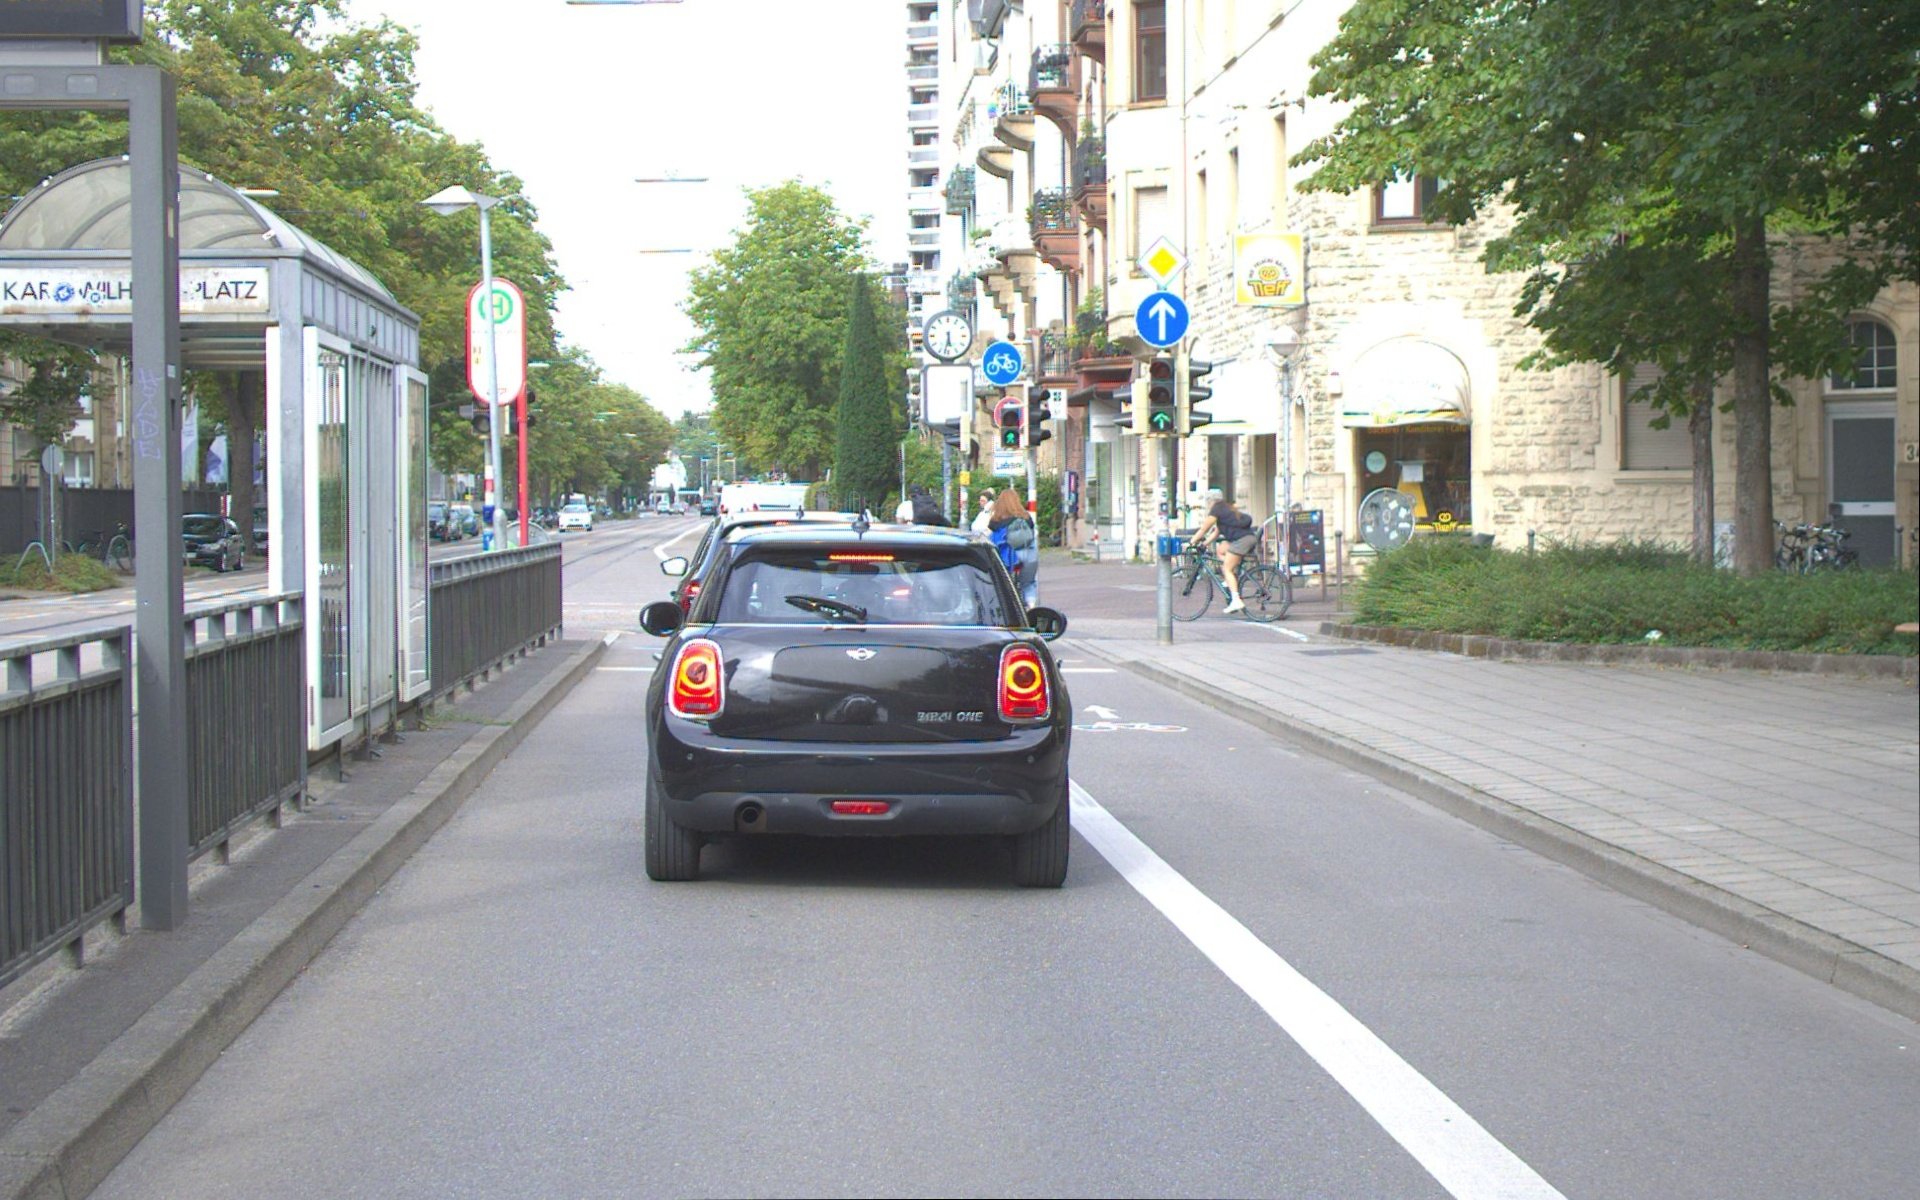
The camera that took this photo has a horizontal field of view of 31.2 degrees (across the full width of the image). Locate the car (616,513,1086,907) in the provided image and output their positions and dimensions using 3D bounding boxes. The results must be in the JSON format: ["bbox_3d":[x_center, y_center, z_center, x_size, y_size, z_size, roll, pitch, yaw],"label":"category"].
[{"bbox_3d":[-0.504,0.369,15.050,1.751,1.436,4.001,1,2,-3],"label":"car"}]

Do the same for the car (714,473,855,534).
[{"bbox_3d":[-6.704,-3.716,131.688,5.026,2.264,2.396,-2,2,-43],"label":"car"}]

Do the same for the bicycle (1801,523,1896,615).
[{"bbox_3d":[10.592,-0.376,40.968,0.449,1.051,1.645,1,2,39],"label":"bicycle"}]

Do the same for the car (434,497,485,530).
[{"bbox_3d":[-23.938,-4.166,164.548,1.993,1.546,4.001,-1,2,-3],"label":"car"}]

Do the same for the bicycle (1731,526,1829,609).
[{"bbox_3d":[10.049,-0.407,42.093,0.602,0.968,1.669,1,2,35],"label":"bicycle"}]

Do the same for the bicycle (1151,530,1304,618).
[{"bbox_3d":[3.341,-0.332,43.066,1.818,1.073,0.616,0,2,31],"label":"bicycle"}]

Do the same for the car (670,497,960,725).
[{"bbox_3d":[-1.091,0.011,25.055,1.926,1.504,4.001,-1,2,-3],"label":"car"}]

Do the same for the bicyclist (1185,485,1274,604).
[{"bbox_3d":[3.373,-0.700,43.037,0.914,1.467,0.616,0,2,31],"label":"bicyclist"}]

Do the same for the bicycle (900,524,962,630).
[{"bbox_3d":[-0.340,-0.278,39.943,0.684,1.166,1.697,-1,2,-1],"label":"bicycle"}]

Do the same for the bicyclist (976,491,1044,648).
[{"bbox_3d":[0.502,-0.319,34.776,0.594,1.545,1.014,-1,2,-3],"label":"bicyclist"}]

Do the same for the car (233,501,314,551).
[{"bbox_3d":[-19.706,-2.142,98.767,1.766,1.390,4.001,-1,2,-4],"label":"car"}]

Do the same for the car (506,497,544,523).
[{"bbox_3d":[-26.691,-5.549,211.153,1.993,1.546,4.001,-1,2,-3],"label":"car"}]

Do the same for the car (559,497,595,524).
[{"bbox_3d":[-20.705,-4.840,185.954,1.766,1.390,4.001,-1,2,-4],"label":"car"}]

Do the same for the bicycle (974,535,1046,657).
[{"bbox_3d":[0.499,-0.052,34.788,0.598,1.166,1.697,-1,2,-3],"label":"bicycle"}]

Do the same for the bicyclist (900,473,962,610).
[{"bbox_3d":[-0.341,-0.691,39.870,0.684,1.558,0.998,-1,2,-1],"label":"bicyclist"}]

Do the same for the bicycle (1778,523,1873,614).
[{"bbox_3d":[10.416,-0.386,41.343,0.449,1.051,1.645,1,2,39],"label":"bicycle"}]

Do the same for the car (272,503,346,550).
[{"bbox_3d":[-20.126,-2.280,106.430,1.766,1.390,4.001,-1,2,-4],"label":"car"}]

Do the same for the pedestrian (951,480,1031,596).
[{"bbox_3d":[0.463,-0.935,51.642,0.732,1.668,0.833,-2,3,44],"label":"pedestrian"}]

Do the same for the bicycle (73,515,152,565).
[{"bbox_3d":[-19.538,-1.398,79.264,1.667,1.115,0.573,-3,3,-42],"label":"bicycle"}]

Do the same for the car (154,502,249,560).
[{"bbox_3d":[-19.109,-1.758,86.759,1.766,1.390,4.001,-1,2,-4],"label":"car"}]

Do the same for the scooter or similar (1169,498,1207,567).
[{"bbox_3d":[4.031,-1.201,60.735,0.508,1.184,1.262,-1,2,-3],"label":"scooter or similar"}]
